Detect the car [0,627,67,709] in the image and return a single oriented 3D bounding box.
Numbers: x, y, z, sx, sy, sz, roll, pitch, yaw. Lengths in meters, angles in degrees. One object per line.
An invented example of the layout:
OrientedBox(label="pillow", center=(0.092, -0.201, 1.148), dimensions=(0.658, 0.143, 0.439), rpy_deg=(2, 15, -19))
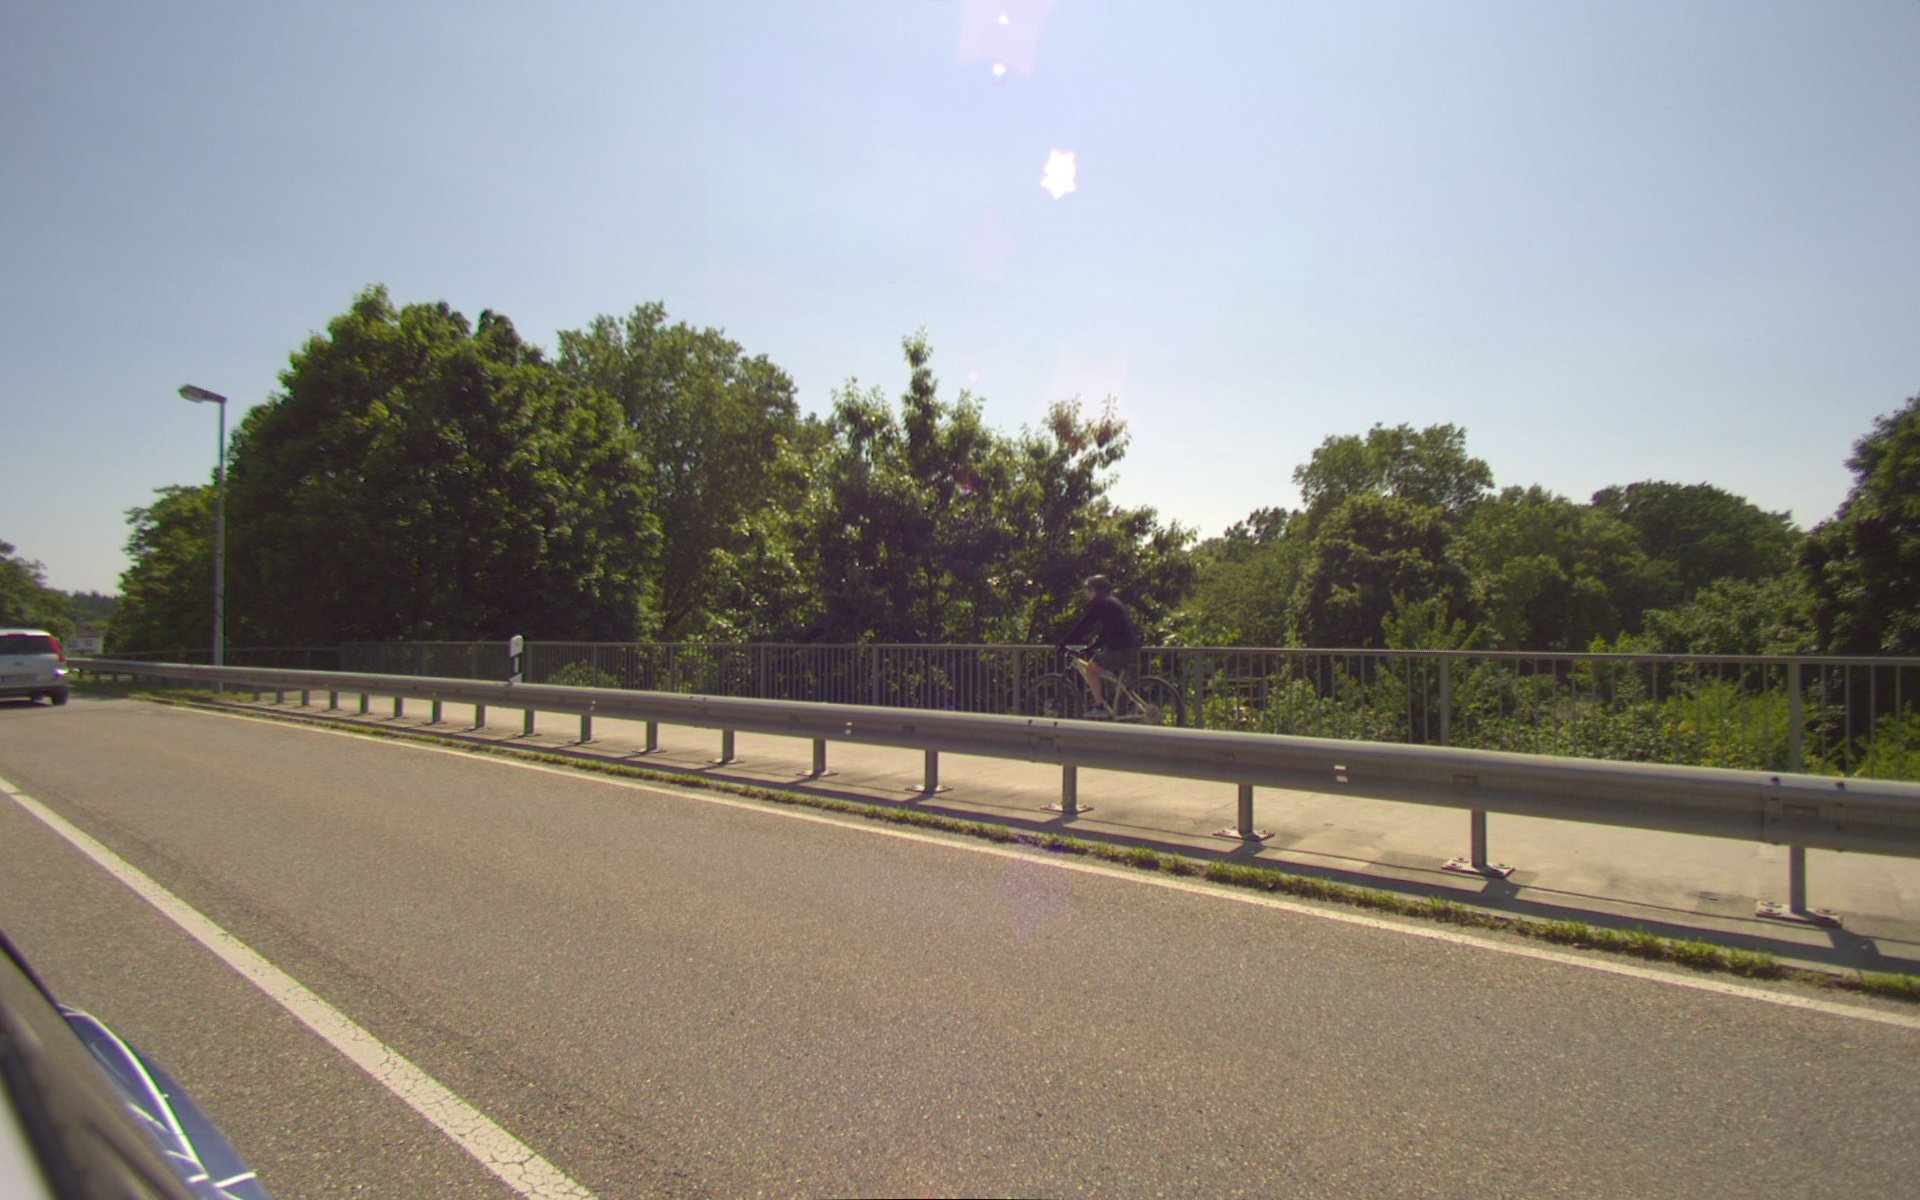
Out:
OrientedBox(label="car", center=(-19.442, 1.339, 20.391), dimensions=(3.662, 1.528, 1.650), rpy_deg=(-2, -2, 40))

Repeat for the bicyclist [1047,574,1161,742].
OrientedBox(label="bicyclist", center=(1.500, 0.588, 10.535), dimensions=(0.894, 1.646, 0.758), rpy_deg=(-3, -3, 38))

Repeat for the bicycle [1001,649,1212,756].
OrientedBox(label="bicycle", center=(1.479, 1.019, 10.535), dimensions=(2.116, 1.009, 0.671), rpy_deg=(-2, -3, 38))
